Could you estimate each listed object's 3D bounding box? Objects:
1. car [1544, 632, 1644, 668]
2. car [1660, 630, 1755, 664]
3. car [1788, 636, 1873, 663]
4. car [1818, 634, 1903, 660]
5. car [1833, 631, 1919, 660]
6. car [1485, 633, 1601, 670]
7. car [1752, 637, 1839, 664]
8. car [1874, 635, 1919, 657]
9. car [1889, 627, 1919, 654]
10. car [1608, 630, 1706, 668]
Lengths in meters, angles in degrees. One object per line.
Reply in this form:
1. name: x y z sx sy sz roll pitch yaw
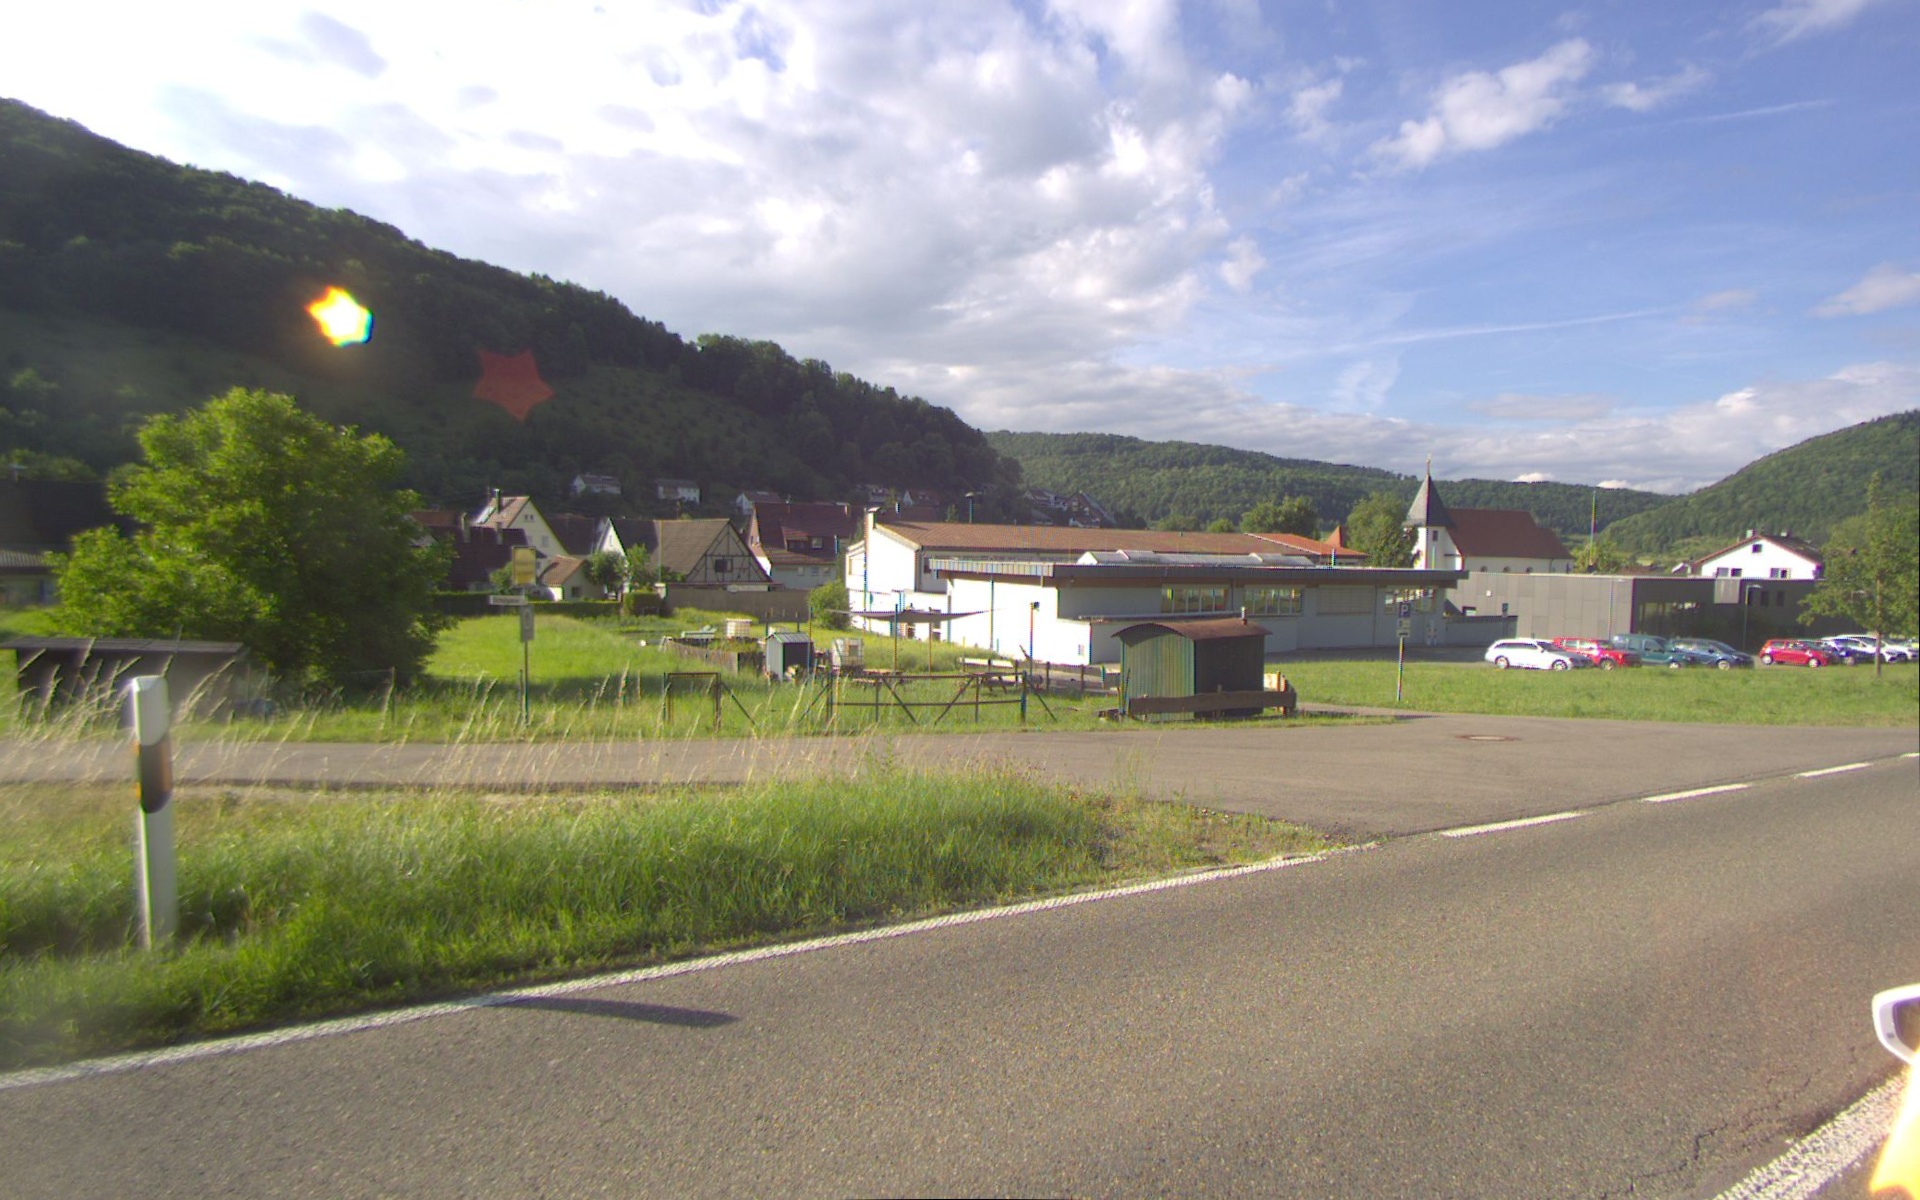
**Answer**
1. car: 31.436 2.457 49.889 1.733 1.600 3.905 1 -1 -27
2. car: 40.493 2.518 54.521 1.710 1.744 3.804 1 -1 -27
3. car: 53.575 3.031 61.898 1.576 1.423 3.613 4 -2 -26
4. car: 56.533 2.937 63.132 1.576 1.513 3.654 2 -1 -26
5. car: 59.236 2.897 64.837 1.575 1.695 4.064 -1 0 -26
6. car: 28.545 2.485 49.346 1.974 1.610 4.624 1 -1 -27
7. car: 49.281 2.966 59.312 1.626 1.463 3.613 1 -1 -26
8. car: 64.314 3.118 67.986 1.643 1.392 3.349 1 -1 -33
9. car: 66.769 2.800 68.630 1.817 1.839 4.538 1 -1 -26
10. car: 36.396 2.522 52.571 1.734 1.745 3.844 1 0 -29
